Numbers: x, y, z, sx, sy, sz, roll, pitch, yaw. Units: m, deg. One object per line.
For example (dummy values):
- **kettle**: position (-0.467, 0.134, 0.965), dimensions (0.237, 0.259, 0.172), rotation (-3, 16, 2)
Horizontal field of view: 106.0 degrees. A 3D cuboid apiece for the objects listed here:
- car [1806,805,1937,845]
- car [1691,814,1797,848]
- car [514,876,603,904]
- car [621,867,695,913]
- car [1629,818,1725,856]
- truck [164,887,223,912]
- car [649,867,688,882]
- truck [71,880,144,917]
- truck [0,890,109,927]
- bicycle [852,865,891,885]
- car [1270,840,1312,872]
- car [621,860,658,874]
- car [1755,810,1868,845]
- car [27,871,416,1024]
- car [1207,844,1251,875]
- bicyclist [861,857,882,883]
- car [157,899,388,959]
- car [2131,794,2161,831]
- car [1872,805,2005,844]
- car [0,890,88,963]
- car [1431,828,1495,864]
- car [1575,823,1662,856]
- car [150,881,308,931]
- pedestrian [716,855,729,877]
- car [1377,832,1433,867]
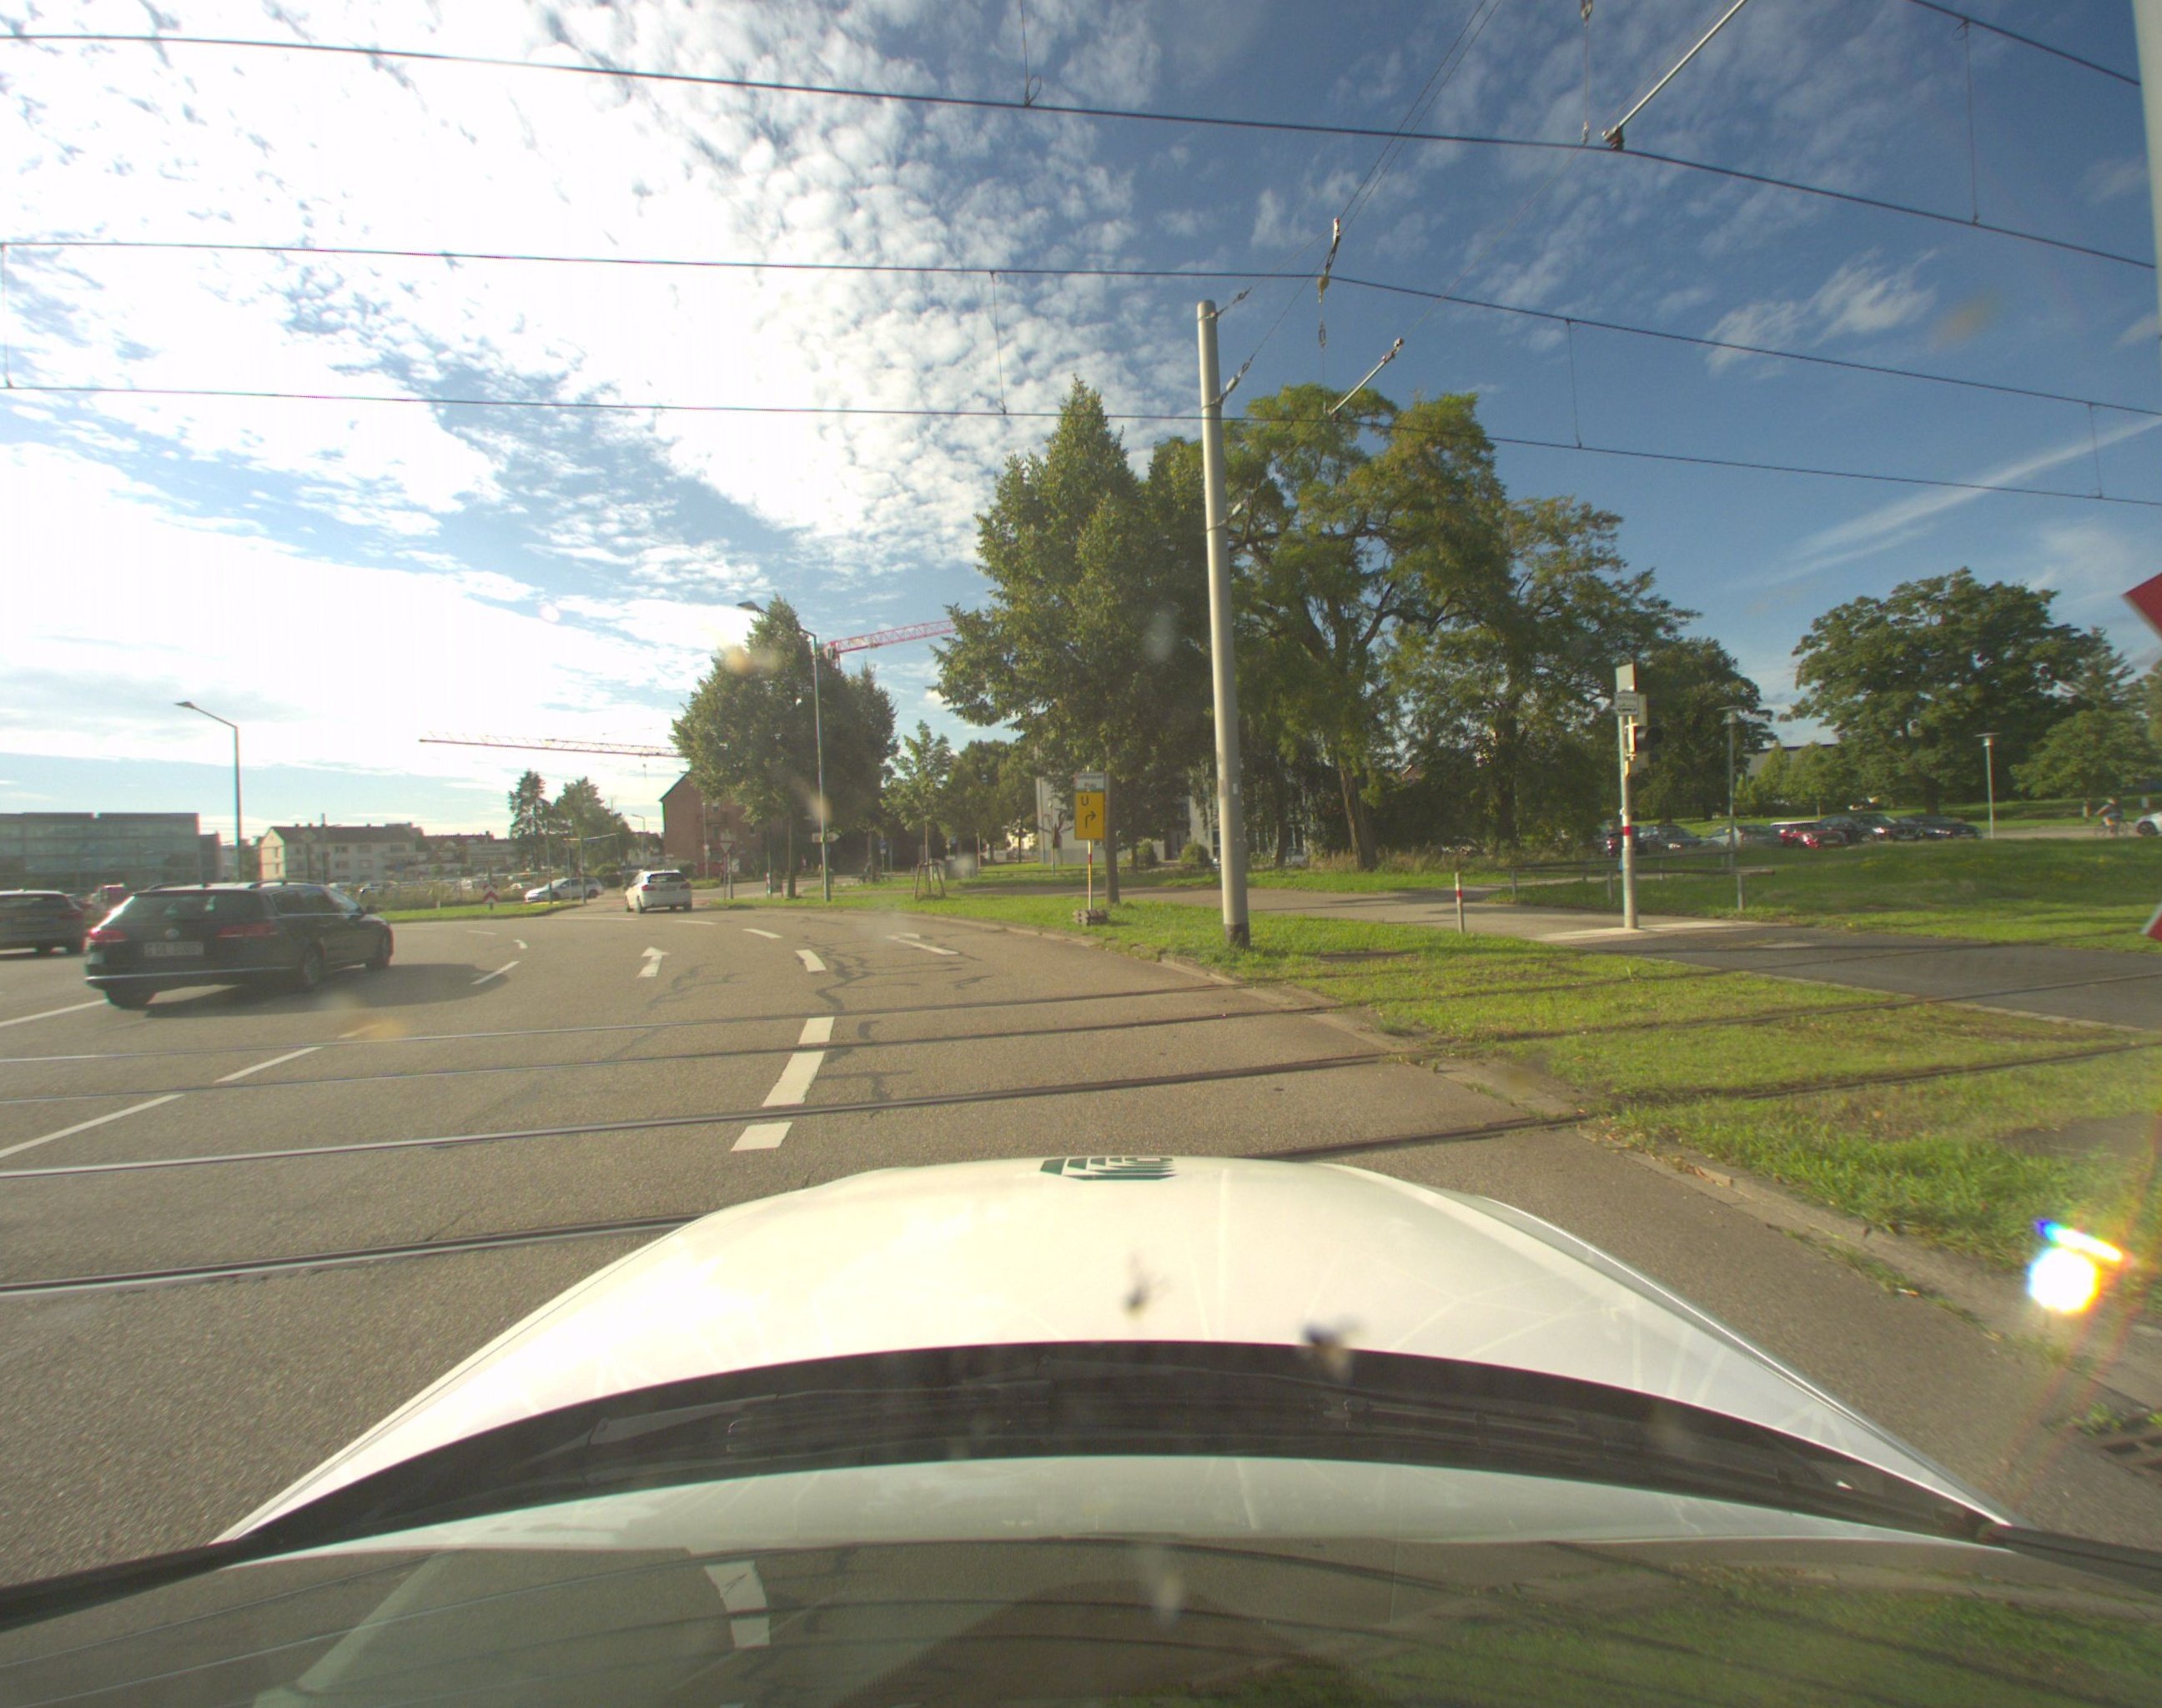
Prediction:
- **car**: position (34.439, -1.219, 35.683), dimensions (1.842, 1.515, 4.964), rotation (-3, 0, 14)
- **car**: position (29.981, -1.021, 37.028), dimensions (1.842, 1.358, 4.853), rotation (-3, 0, 14)
- **car**: position (-32.466, 2.211, 50.746), dimensions (1.804, 1.452, 4.562), rotation (-3, 0, 16)
- **car**: position (-16.352, 1.335, 31.347), dimensions (1.865, 1.572, 4.405), rotation (-2, 0, -36)
- **car**: position (27.123, -0.774, 37.281), dimensions (1.842, 1.515, 4.766), rotation (-3, 0, 14)
- **truck**: position (-91.123, 4.701, 83.613), dimensions (6.371, 2.328, 2.349), rotation (-3, 0, 27)
- **car**: position (-51.391, 2.558, 101.520), dimensions (4.003, 1.618, 1.760), rotation (-3, 0, -22)
- **truck**: position (-93.620, 4.281, 78.322), dimensions (7.224, 3.207, 2.834), rotation (-3, 0, 27)
- **truck**: position (-86.169, 4.489, 66.723), dimensions (3.035, 2.567, 7.910), rotation (-3, 0, 30)
- **bicycle**: position (-12.768, 1.302, 49.732), dimensions (2.128, 1.137, 0.775), rotation (-2, 0, 12)
- **car**: position (10.435, 0.071, 40.571), dimensions (1.842, 1.440, 4.752), rotation (-3, 0, 14)
- **car**: position (-57.030, 1.720, 105.255), dimensions (4.014, 1.618, 1.755), rotation (-3, 0, -32)
- **car**: position (32.418, -1.139, 36.335), dimensions (1.842, 1.362, 4.486), rotation (-3, 0, 14)
- **car**: position (-11.421, 1.066, 11.408), dimensions (2.003, 1.566, 4.806), rotation (-2, 0, -24)
- **car**: position (7.603, 0.253, 41.431), dimensions (1.842, 1.381, 4.533), rotation (-3, 0, 14)
- **bicyclist**: position (-12.789, 0.972, 49.732), dimensions (0.950, 1.575, 0.775), rotation (-2, 0, 12)
- **car**: position (-24.196, 2.199, 24.555), dimensions (4.645, 1.431, 1.896), rotation (-2, 0, -10)
- **car**: position (46.117, -1.791, 32.924), dimensions (1.845, 1.515, 4.478), rotation (-3, 0, 7)
- **car**: position (37.012, -1.232, 35.339), dimensions (1.842, 1.515, 4.486), rotation (-3, 0, 14)
- **car**: position (-25.745, 1.699, 19.607), dimensions (4.014, 1.572, 1.785), rotation (-2, 0, 32)
- **car**: position (18.215, -0.402, 39.029), dimensions (1.842, 1.515, 4.752), rotation (-3, 0, 14)
- **car**: position (24.766, -0.661, 37.714), dimensions (1.842, 1.359, 4.752), rotation (-3, 0, 14)
- **car**: position (-38.860, 2.314, 37.288), dimensions (1.877, 1.903, 4.691), rotation (-2, 0, 32)
- **pedestrian**: position (-30.368, 1.018, 69.065), dimensions (0.666, 1.870, 0.834), rotation (-3, 0, -4)
- **car**: position (15.671, -0.227, 39.572), dimensions (1.842, 1.515, 4.752), rotation (-3, 0, 14)
